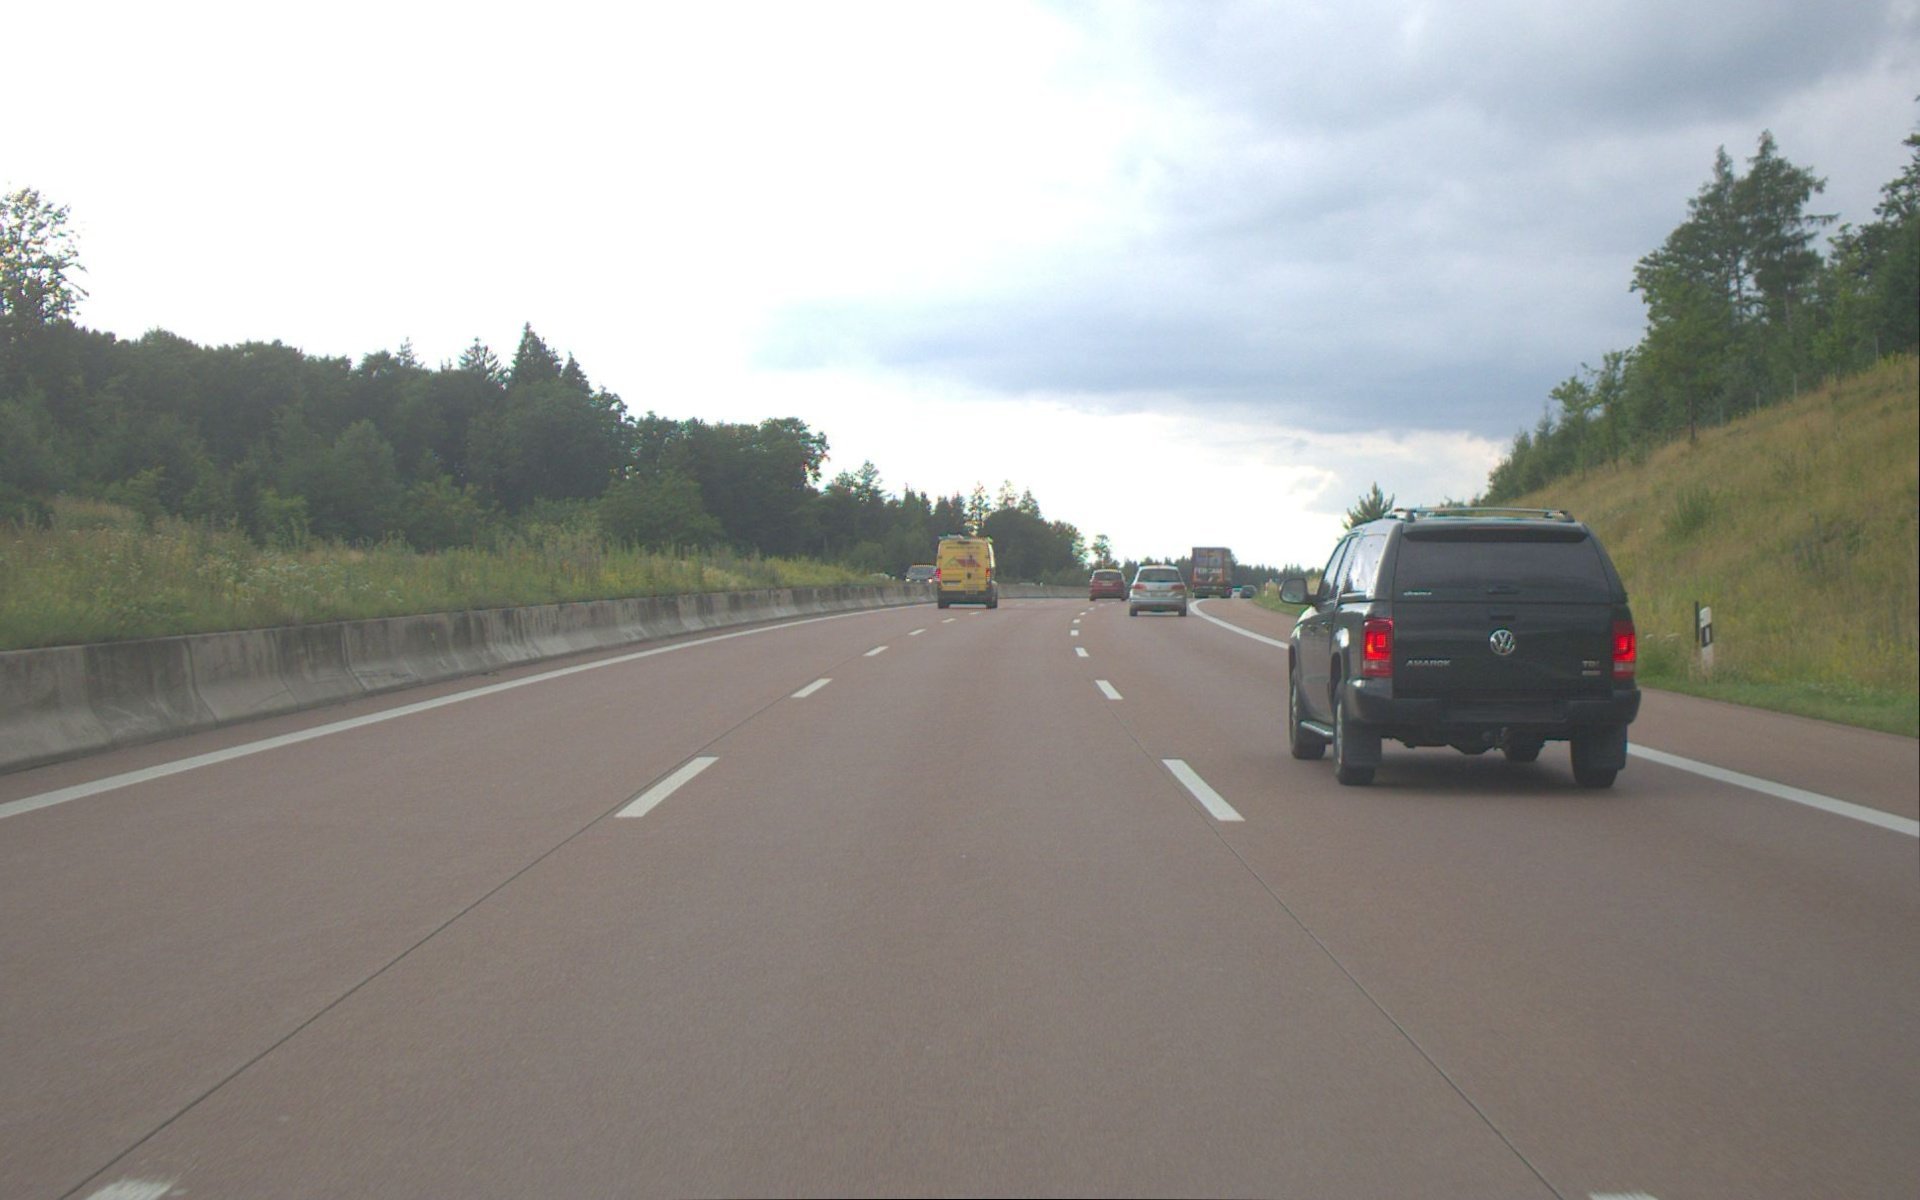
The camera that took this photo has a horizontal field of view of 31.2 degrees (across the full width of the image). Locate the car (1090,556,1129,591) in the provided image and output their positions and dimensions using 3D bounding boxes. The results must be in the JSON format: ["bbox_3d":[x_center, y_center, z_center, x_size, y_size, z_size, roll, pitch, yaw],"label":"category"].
[{"bbox_3d":[7.795,-1.359,178.641,1.888,1.758,4.781,0,0,4],"label":"car"}]

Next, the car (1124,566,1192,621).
[{"bbox_3d":[6.190,-0.219,107.087,1.978,1.642,4.618,1,0,5],"label":"car"}]

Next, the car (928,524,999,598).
[{"bbox_3d":[0.174,-1.436,128.381,2.459,2.697,5.613,0,0,2],"label":"car"}]

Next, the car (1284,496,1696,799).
[{"bbox_3d":[3.592,0.299,24.388,2.044,1.890,5.577,0,0,0],"label":"car"}]
